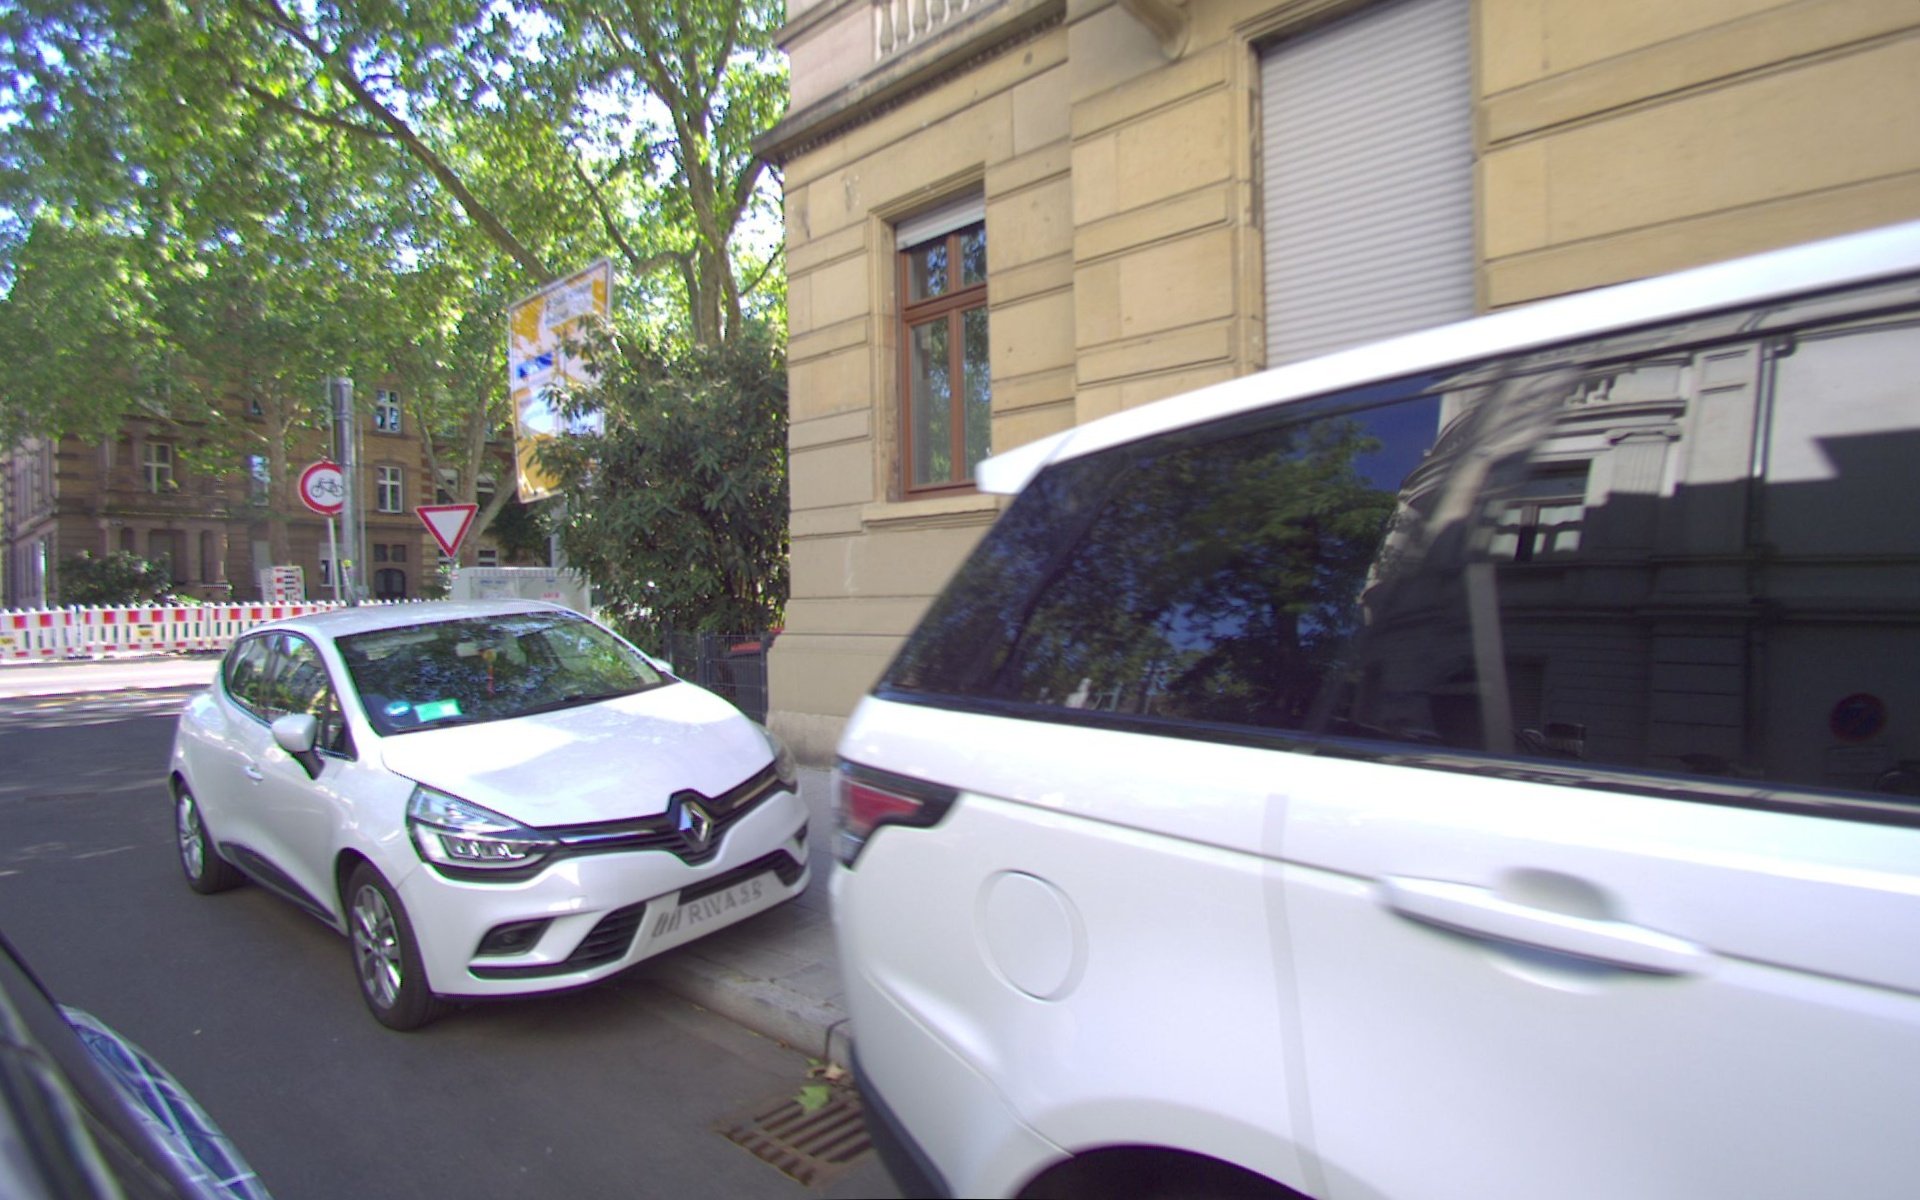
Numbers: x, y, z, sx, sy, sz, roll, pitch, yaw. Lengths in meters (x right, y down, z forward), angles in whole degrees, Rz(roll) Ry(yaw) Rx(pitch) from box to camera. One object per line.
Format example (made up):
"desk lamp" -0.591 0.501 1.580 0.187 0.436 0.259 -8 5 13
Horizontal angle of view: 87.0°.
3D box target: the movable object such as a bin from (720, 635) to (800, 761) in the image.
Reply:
"movable object such as a bin" -1.641 0.782 8.295 0.520 0.978 0.393 -2 -1 41

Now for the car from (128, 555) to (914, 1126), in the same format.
"car" -2.300 0.649 4.807 3.939 1.573 1.848 0 2 41

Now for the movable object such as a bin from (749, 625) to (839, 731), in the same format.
"movable object such as a bin" -1.624 0.738 9.869 0.689 0.978 0.540 -2 -1 41

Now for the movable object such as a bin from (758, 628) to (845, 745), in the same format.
"movable object such as a bin" -1.397 0.744 8.938 0.520 0.978 0.540 -2 -1 41

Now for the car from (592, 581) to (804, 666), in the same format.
"car" -5.802 0.444 22.869 1.867 1.739 4.449 0 1 38

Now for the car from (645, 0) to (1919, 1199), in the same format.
"car" 1.864 0.375 0.792 4.542 2.029 2.000 -1 0 42
